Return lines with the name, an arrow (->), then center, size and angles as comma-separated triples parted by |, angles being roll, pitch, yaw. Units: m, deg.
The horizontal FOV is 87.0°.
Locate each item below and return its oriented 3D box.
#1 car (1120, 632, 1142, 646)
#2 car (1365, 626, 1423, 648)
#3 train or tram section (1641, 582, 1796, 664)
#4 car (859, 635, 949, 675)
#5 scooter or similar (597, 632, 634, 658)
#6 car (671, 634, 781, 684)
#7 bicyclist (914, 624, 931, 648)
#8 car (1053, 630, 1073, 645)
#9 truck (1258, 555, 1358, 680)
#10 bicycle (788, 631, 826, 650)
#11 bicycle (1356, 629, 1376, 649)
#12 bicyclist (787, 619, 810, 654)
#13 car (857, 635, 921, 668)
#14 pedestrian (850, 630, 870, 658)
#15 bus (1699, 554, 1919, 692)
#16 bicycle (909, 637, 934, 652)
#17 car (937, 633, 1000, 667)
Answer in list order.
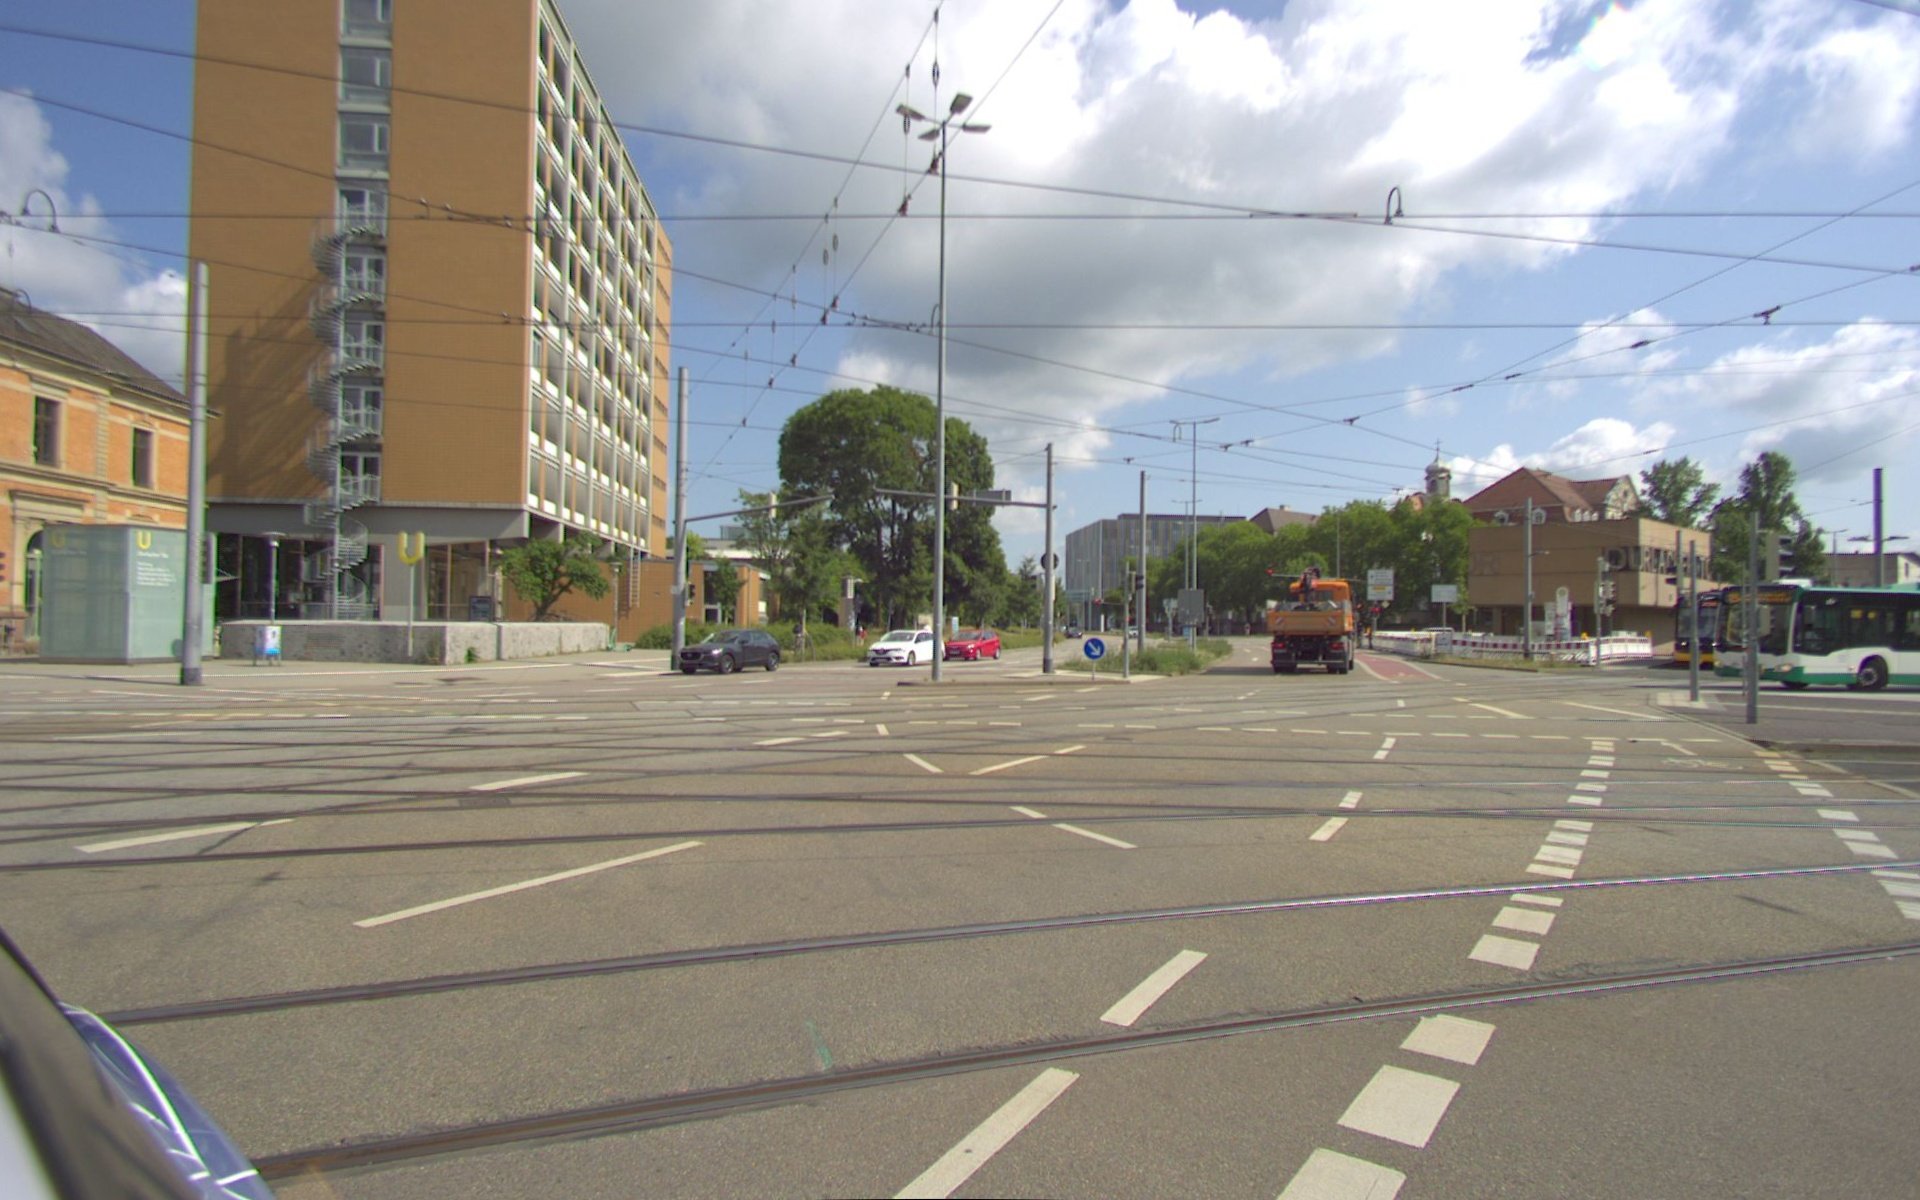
car -> 20.547, 4.679, 121.584 | 1.805, 1.537, 4.002 | 1, -2, -3
car -> 36.175, 3.076, 84.370 | 4.000, 1.796, 1.971 | -1, -2, 43
train or tram section -> 36.025, 1.021, 47.864 | 10.439, 3.507, 3.330 | 0, -2, -39
car -> -2.188, 2.201, 41.255 | 1.752, 1.440, 4.637 | -2, -2, 24
scooter or similar -> -16.103, 2.097, 47.280 | 1.511, 1.192, 0.436 | 3, -3, -30
car -> -8.068, 2.017, 35.311 | 1.635, 1.588, 4.181 | -2, -2, 22
bicyclist -> -2.391, 2.305, 64.972 | 0.632, 1.468, 1.160 | 0, -2, 24
car -> 12.536, 4.596, 123.141 | 1.971, 1.769, 4.001 | 0, -2, -1
truck -> 12.849, 0.679, 36.926 | 2.819, 4.039, 8.007 | 0, -2, 24
bicycle -> -7.440, 1.963, 49.310 | 0.760, 0.881, 1.787 | 2, -1, 36
bicycle -> 29.458, 2.793, 73.416 | 0.963, 1.421, 2.284 | 0, -2, 13
bicyclist -> -7.797, 1.753, 49.005 | 0.578, 1.684, 0.925 | 0, -1, 36
car -> -3.244, 2.366, 47.128 | 1.575, 1.395, 4.054 | -2, -2, 18
pedestrian -> -5.725, 2.489, 57.948 | 0.941, 1.590, 0.772 | 1, -2, -22
bus -> 27.926, 0.741, 29.205 | 12.177, 3.648, 2.922 | 1, -2, -9
bicycle -> -2.446, 2.850, 64.770 | 0.649, 0.904, 2.257 | 0, -2, 24
car -> 0.438, 2.318, 47.472 | 1.635, 1.479, 4.036 | -2, -2, 21
